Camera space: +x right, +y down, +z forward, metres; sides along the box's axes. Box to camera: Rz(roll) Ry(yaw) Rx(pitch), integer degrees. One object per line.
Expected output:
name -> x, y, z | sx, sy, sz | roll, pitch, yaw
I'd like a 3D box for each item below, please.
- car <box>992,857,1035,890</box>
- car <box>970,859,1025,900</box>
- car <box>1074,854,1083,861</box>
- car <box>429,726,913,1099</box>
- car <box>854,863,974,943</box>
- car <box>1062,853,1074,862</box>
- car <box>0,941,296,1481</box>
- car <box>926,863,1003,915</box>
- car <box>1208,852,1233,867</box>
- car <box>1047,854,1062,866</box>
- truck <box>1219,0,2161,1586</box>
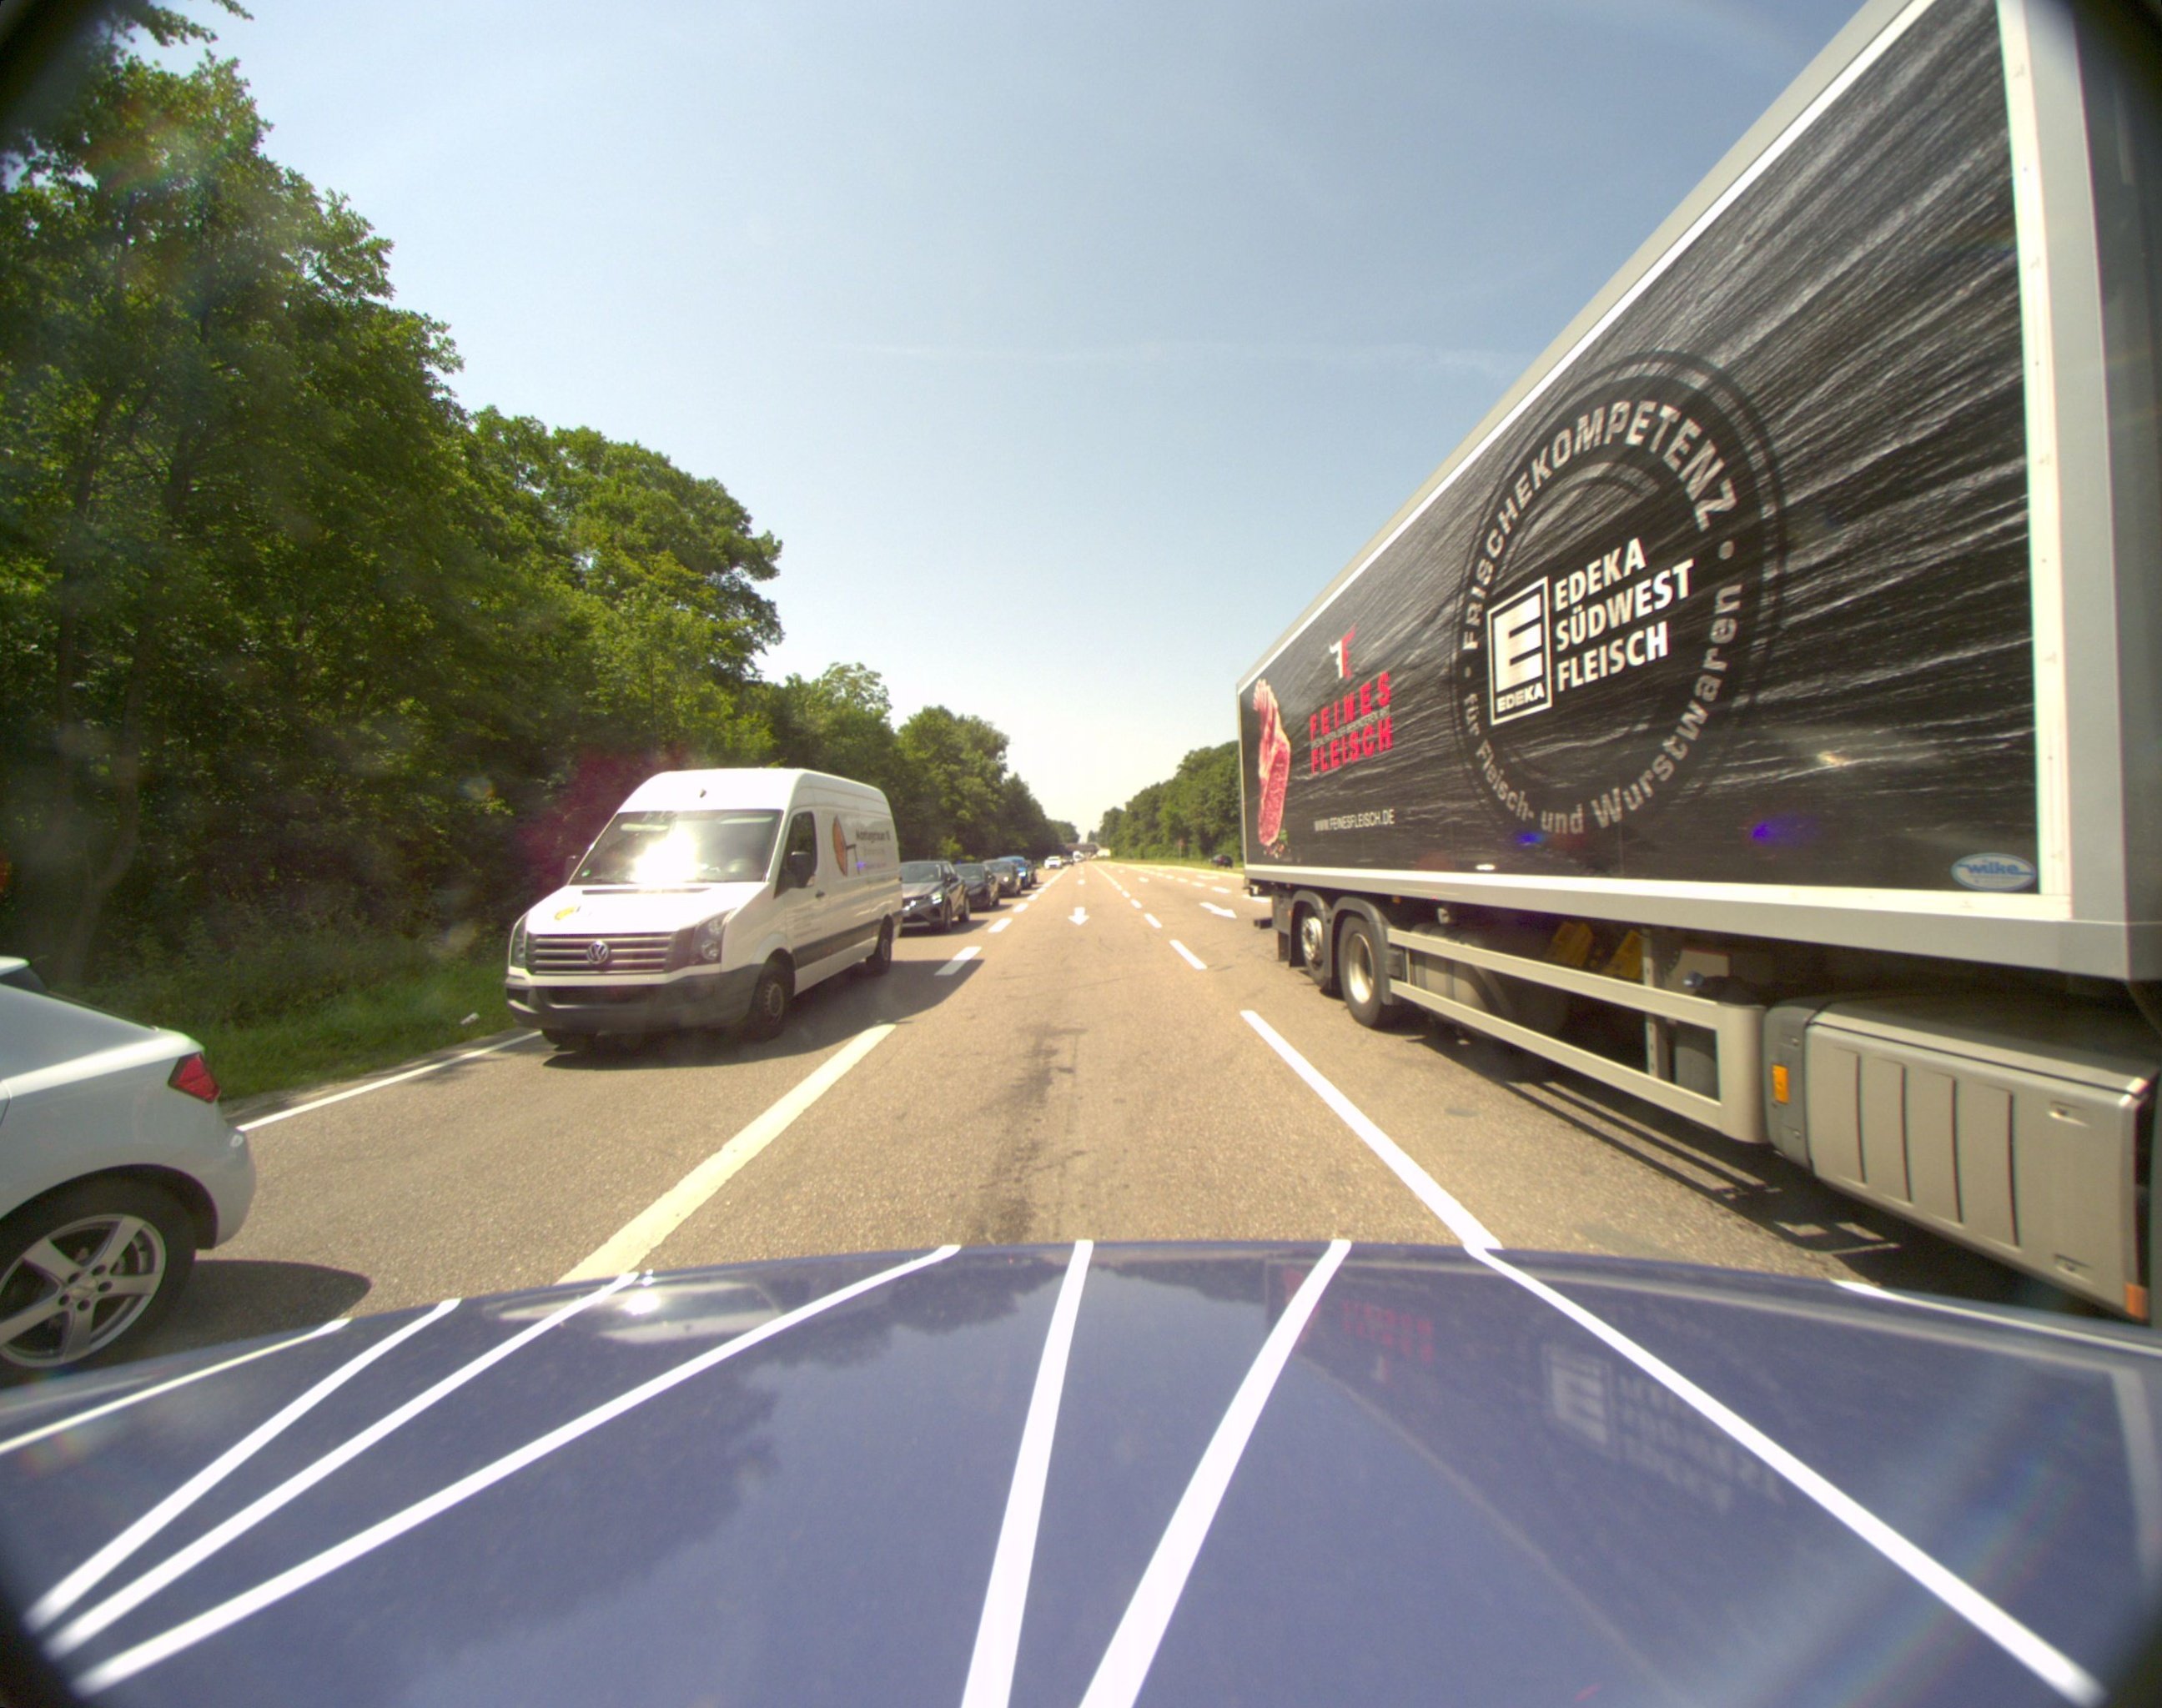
car -> -3.230, 0.904, 37.161 | 1.796, 1.431, 4.228 | -1, 0, -1
car -> -3.301, 0.971, 30.664 | 1.796, 1.431, 4.228 | -1, 0, -1
car -> -0.520, 0.714, 167.670 | 1.796, 1.431, 4.228 | -1, 0, -1
car -> -3.632, 0.429, 8.520 | 1.974, 2.629, 6.060 | -2, 0, 1
car -> -3.631, 1.002, 17.270 | 1.796, 1.452, 4.228 | -2, 0, -1
car -> -2.177, 0.610, 126.733 | 1.796, 1.431, 4.228 | -1, 0, -1
car -> -3.970, 1.092, 0.924 | 1.693, 1.427, 4.001 | -3, 0, 3
car -> -3.488, 1.006, 23.511 | 1.796, 1.348, 4.228 | -1, 0, -1
car -> 15.444, 0.615, 84.278 | 1.999, 1.543, 3.999 | -2, 1, 0
car -> -3.205, 0.713, 92.649 | 1.796, 1.431, 4.228 | 0, 0, -1
truck -> 3.493, -0.464, 5.053 | 2.753, 3.862, 11.318 | -2, 0, -1
